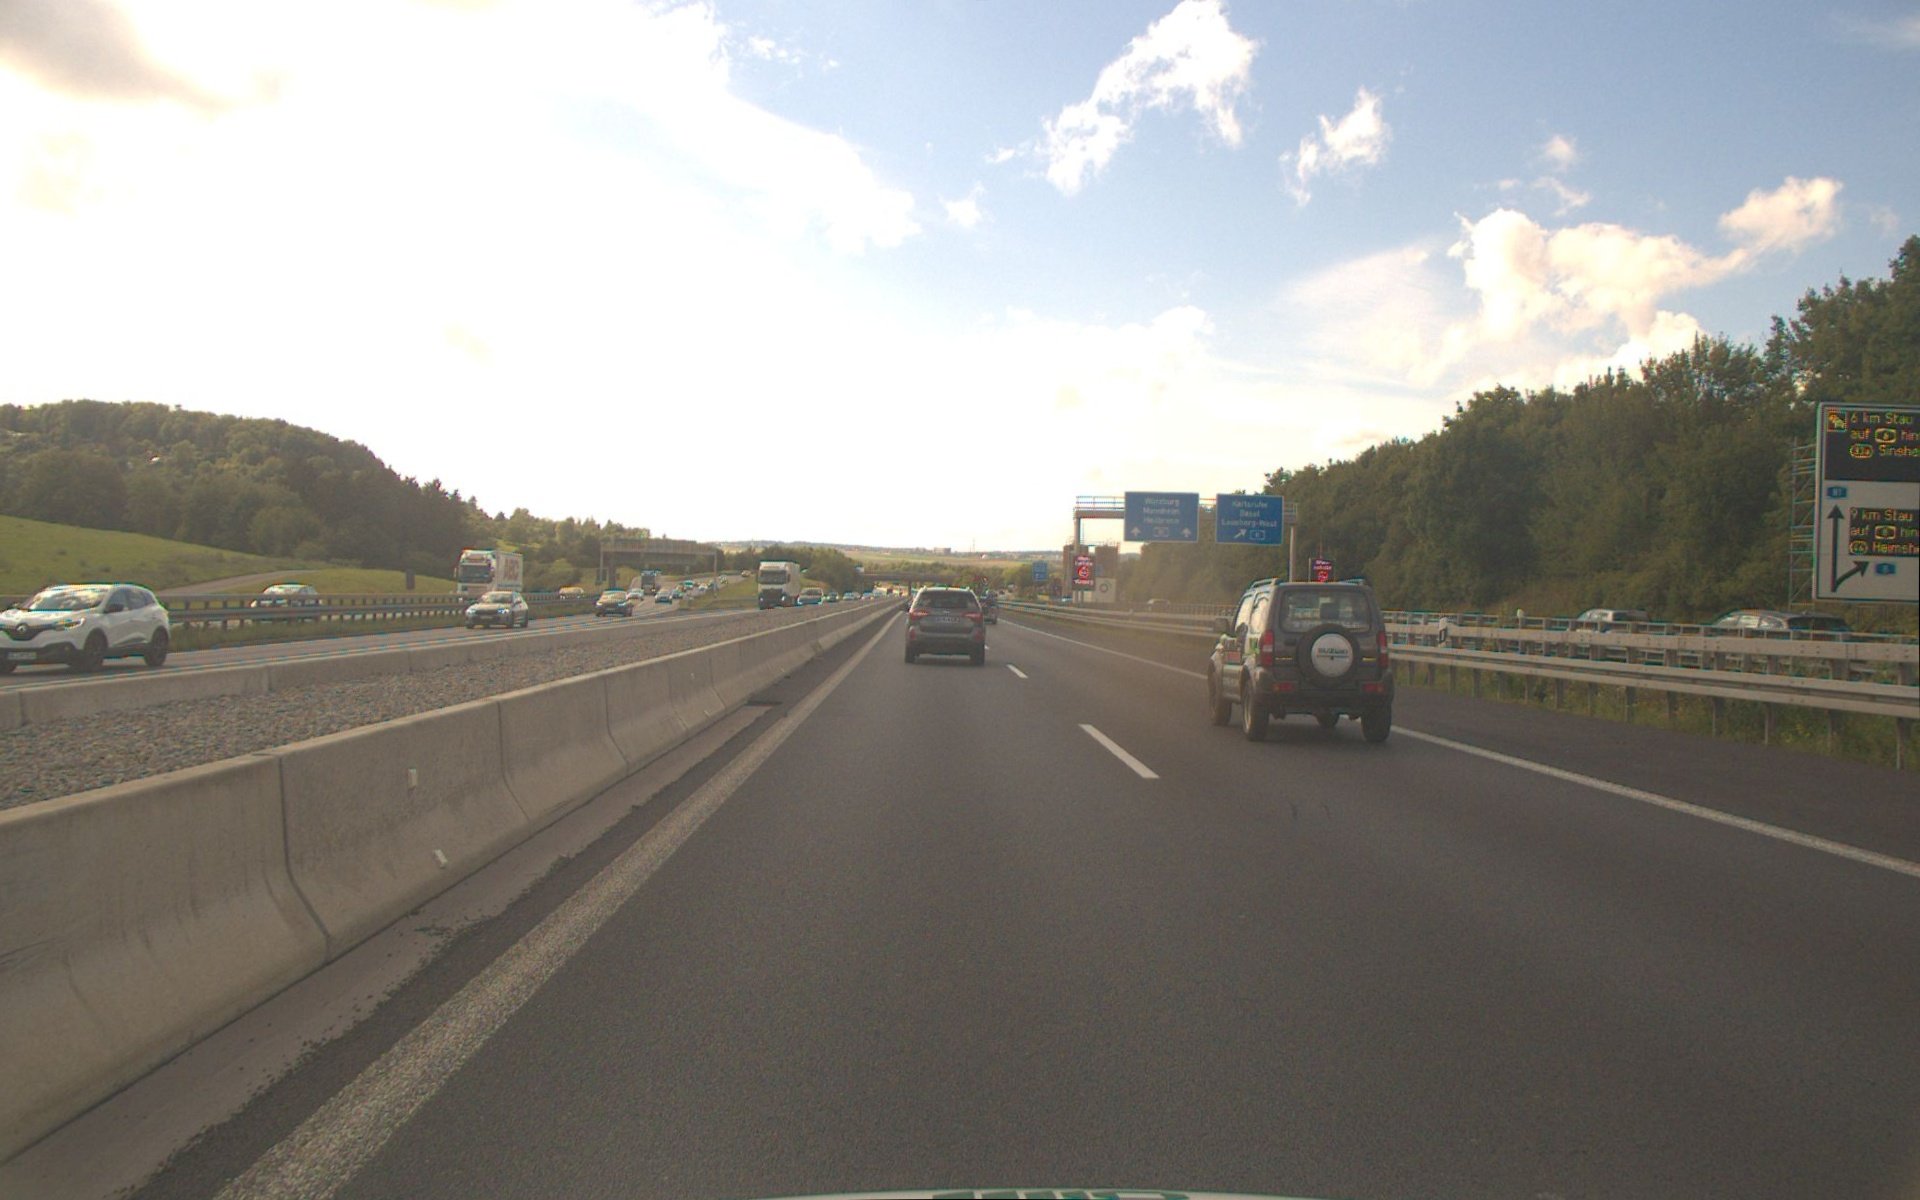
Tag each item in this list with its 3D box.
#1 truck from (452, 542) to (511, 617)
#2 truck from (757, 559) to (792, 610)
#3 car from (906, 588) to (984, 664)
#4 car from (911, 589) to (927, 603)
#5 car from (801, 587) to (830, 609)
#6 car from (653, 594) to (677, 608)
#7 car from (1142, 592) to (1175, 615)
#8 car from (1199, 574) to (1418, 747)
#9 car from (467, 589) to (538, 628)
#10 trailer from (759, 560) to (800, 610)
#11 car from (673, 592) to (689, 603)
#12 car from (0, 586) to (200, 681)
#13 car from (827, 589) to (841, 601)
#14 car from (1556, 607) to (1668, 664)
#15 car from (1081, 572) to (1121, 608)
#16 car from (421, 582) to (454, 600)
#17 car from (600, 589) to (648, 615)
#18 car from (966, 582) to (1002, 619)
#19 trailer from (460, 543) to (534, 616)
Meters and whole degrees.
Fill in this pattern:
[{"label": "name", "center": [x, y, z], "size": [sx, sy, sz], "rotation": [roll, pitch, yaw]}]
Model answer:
[{"label": "truck", "center": [-34.774, -1.444, 120.327], "size": [2.967, 5.232, 6.620], "rotation": [0, 0, -6]}, {"label": "truck", "center": [-15.828, -1.308, 141.405], "size": [2.438, 4.201, 5.297], "rotation": [0, 0, -1]}, {"label": "car", "center": [-0.335, 0.573, 38.243], "size": [1.714, 1.659, 3.608], "rotation": [0, 0, 0]}, {"label": "car", "center": [-5.583, -0.471, 225.232], "size": [2.124, 1.876, 4.000], "rotation": [0, 0, 0]}, {"label": "car", "center": [-10.599, -0.145, 121.879], "size": [1.810, 1.521, 4.971], "rotation": [0, 0, -2]}, {"label": "car", "center": [-31.376, 0.108, 176.151], "size": [1.903, 1.521, 4.127], "rotation": [0, 0, -2]}, {"label": "car", "center": [15.691, 0.262, 130.882], "size": [1.953, 1.747, 3.999], "rotation": [0, 0, -2]}, {"label": "car", "center": [3.945, 0.636, 19.377], "size": [1.632, 1.763, 4.206], "rotation": [1, 0, 0]}, {"label": "car", "center": [-18.647, 0.348, 67.597], "size": [1.612, 1.521, 4.995], "rotation": [0, 0, -2]}, {"label": "trailer", "center": [-15.961, -1.290, 146.850], "size": [2.438, 4.201, 13.278], "rotation": [0, 0, -1]}, {"label": "car", "center": [-39.749, -0.346, 235.722], "size": [1.765, 1.646, 4.300], "rotation": [0, 0, -2]}, {"label": "car", "center": [-16.464, 0.587, 31.517], "size": [1.761, 1.659, 4.753], "rotation": [0, 0, 0]}, {"label": "car", "center": [-17.594, -0.665, 231.670], "size": [1.765, 1.646, 4.300], "rotation": [0, 0, -2]}, {"label": "car", "center": [20.949, 1.113, 53.285], "size": [1.953, 1.738, 3.999], "rotation": [0, 0, -2]}, {"label": "car", "center": [15.087, -1.034, 177.589], "size": [3.504, 3.741, 7.546], "rotation": [0, 0, -2]}, {"label": "car", "center": [-48.374, -0.807, 153.316], "size": [1.765, 1.646, 4.300], "rotation": [0, 0, -2]}, {"label": "car", "center": [-20.113, 0.114, 99.114], "size": [1.903, 1.521, 5.305], "rotation": [0, 0, -2]}, {"label": "car", "center": [1.420, 0.037, 98.579], "size": [1.953, 2.117, 3.999], "rotation": [0, 0, -2]}, {"label": "trailer", "center": [-35.664, -1.487, 127.951], "size": [3.049, 5.251, 14.699], "rotation": [0, 0, -6]}]
